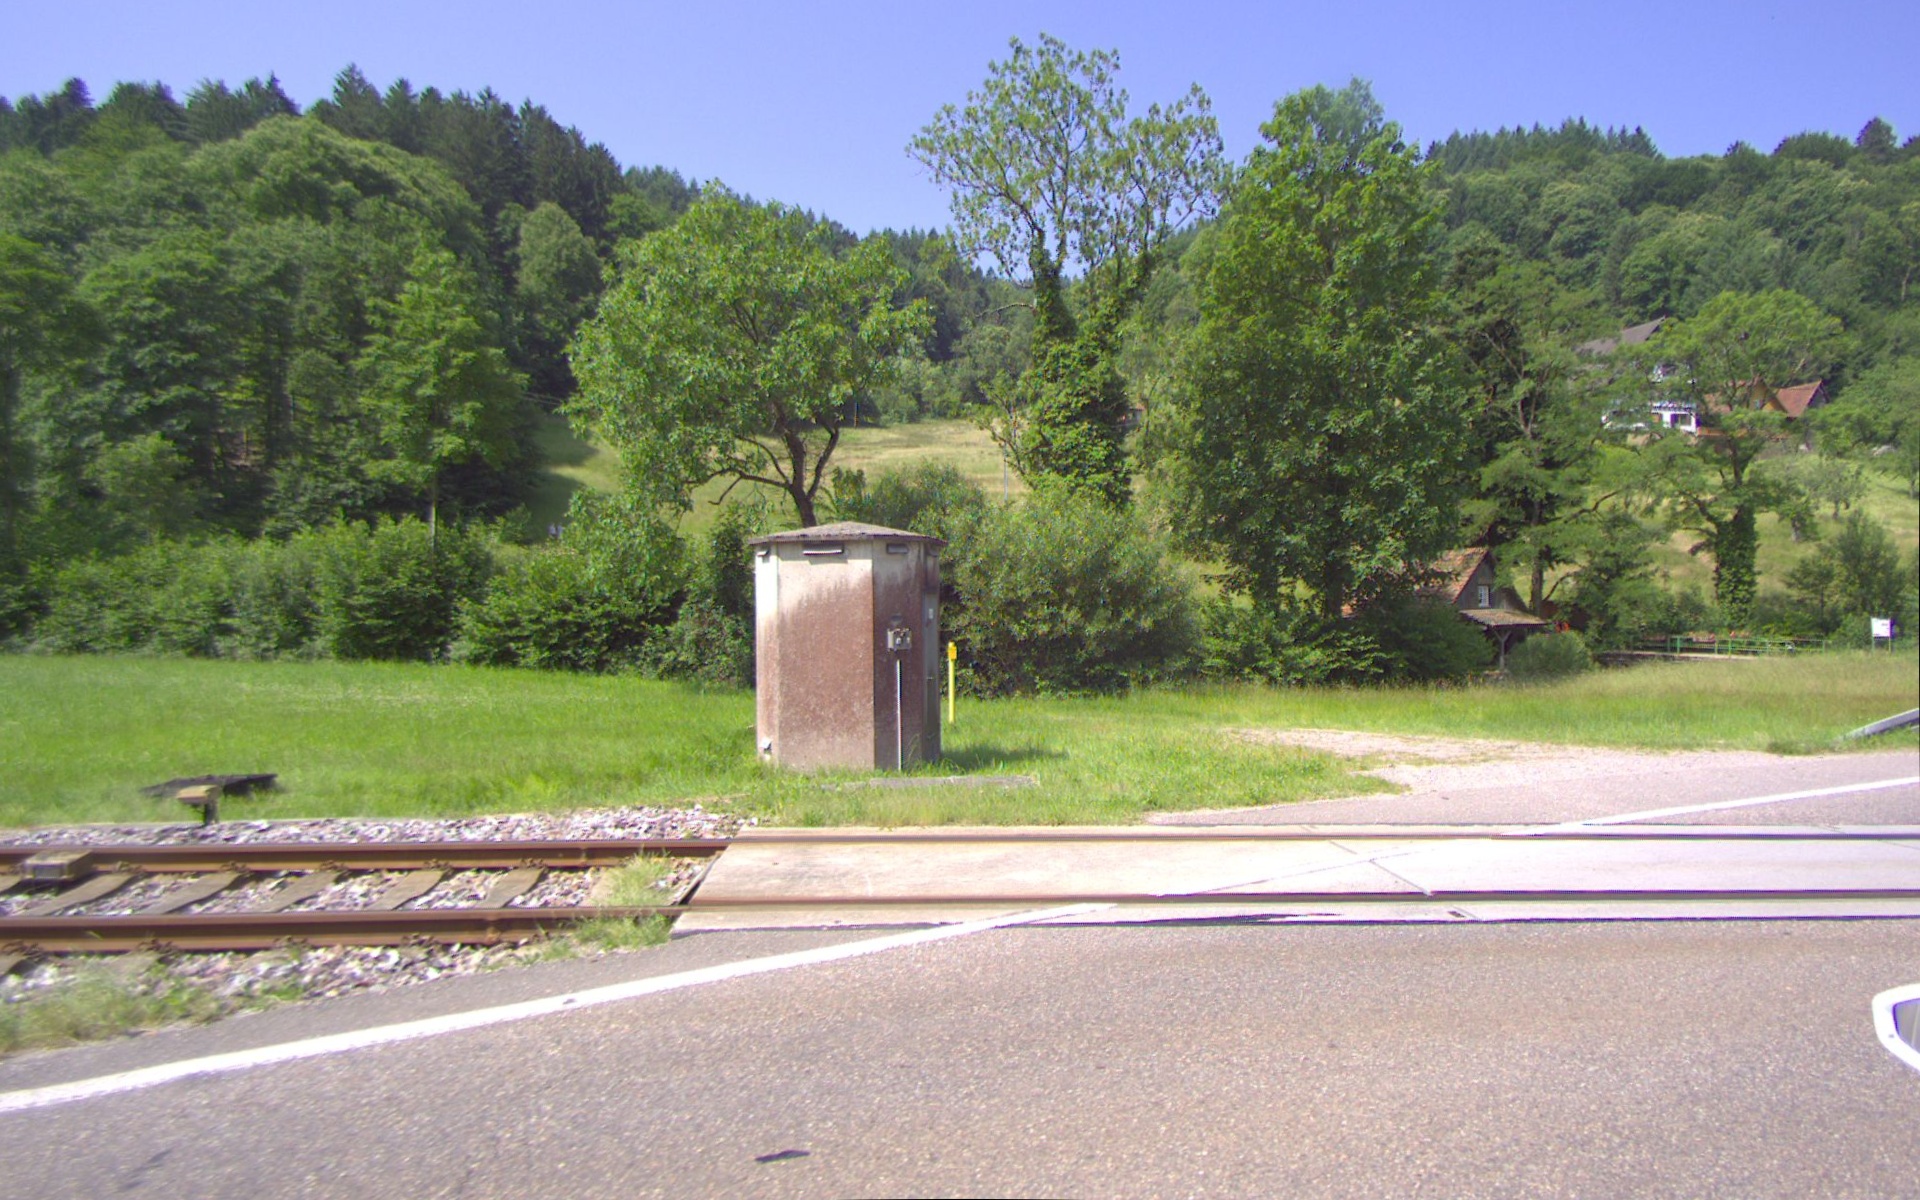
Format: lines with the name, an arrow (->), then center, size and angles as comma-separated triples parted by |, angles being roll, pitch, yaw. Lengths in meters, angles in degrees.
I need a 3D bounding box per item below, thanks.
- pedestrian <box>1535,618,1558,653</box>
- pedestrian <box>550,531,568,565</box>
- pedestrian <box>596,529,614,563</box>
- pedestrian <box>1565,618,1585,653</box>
pedestrian -> 34.556, 2.114, 59.183 | 0.916, 2.040, 0.699 | 1, -2, -14
pedestrian -> -30.204, -3.894, 75.665 | 1.061, 2.397, 1.074 | 1, -2, -31
pedestrian -> -26.187, -4.001, 74.147 | 1.061, 2.397, 1.074 | 1, -2, -31
pedestrian -> 36.190, 2.118, 59.127 | 0.915, 2.040, 0.700 | 0, -2, 28
